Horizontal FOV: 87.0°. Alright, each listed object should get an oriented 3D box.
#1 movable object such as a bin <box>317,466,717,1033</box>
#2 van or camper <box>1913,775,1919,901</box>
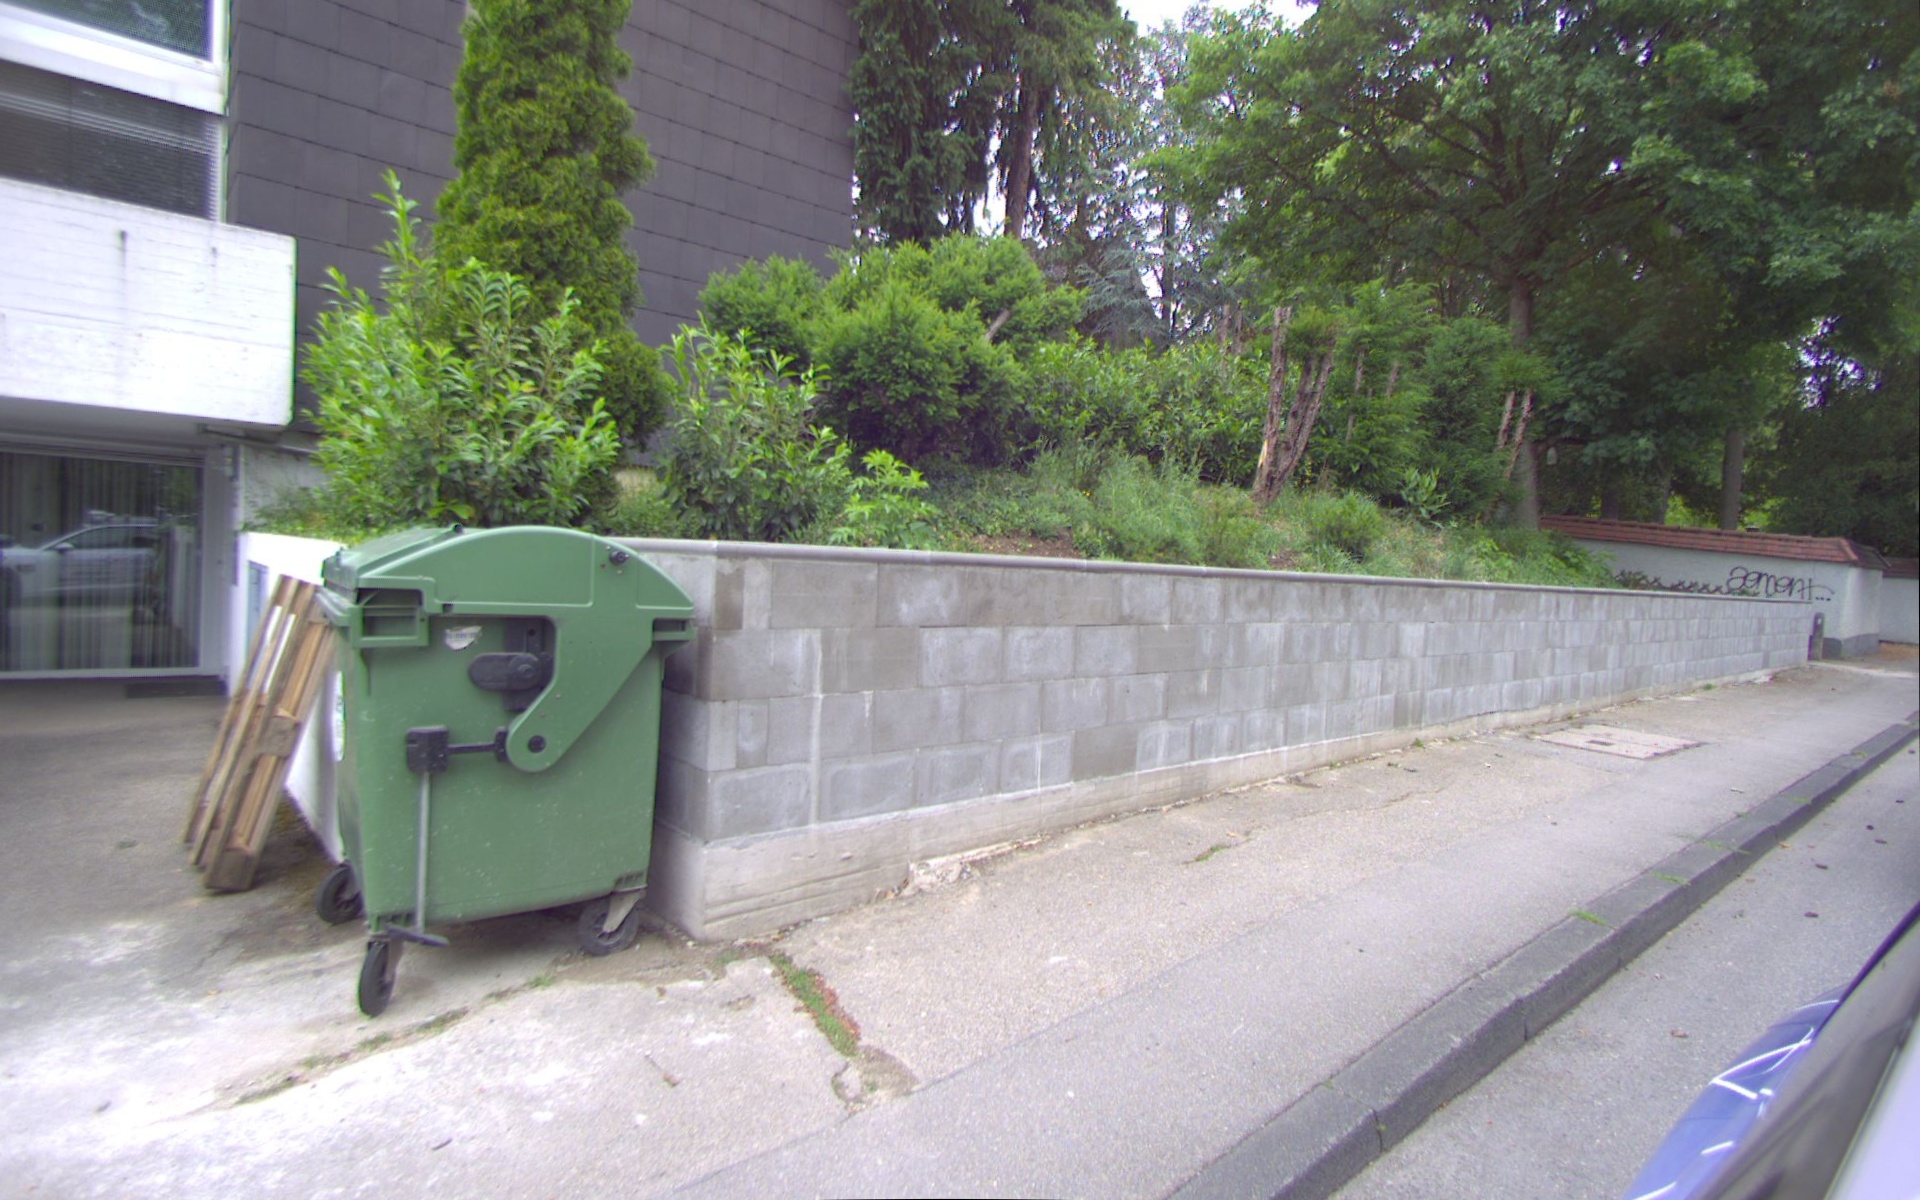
[{"bbox_3d":[-1.544,0.385,3.479,1.014,1.549,1.037,0,2,-39],"label":"movable object such as a bin"},{"bbox_3d":[6.450,0.537,5.199,4.125,1.693,1.800,0,3,-41],"label":"van or camper"}]
